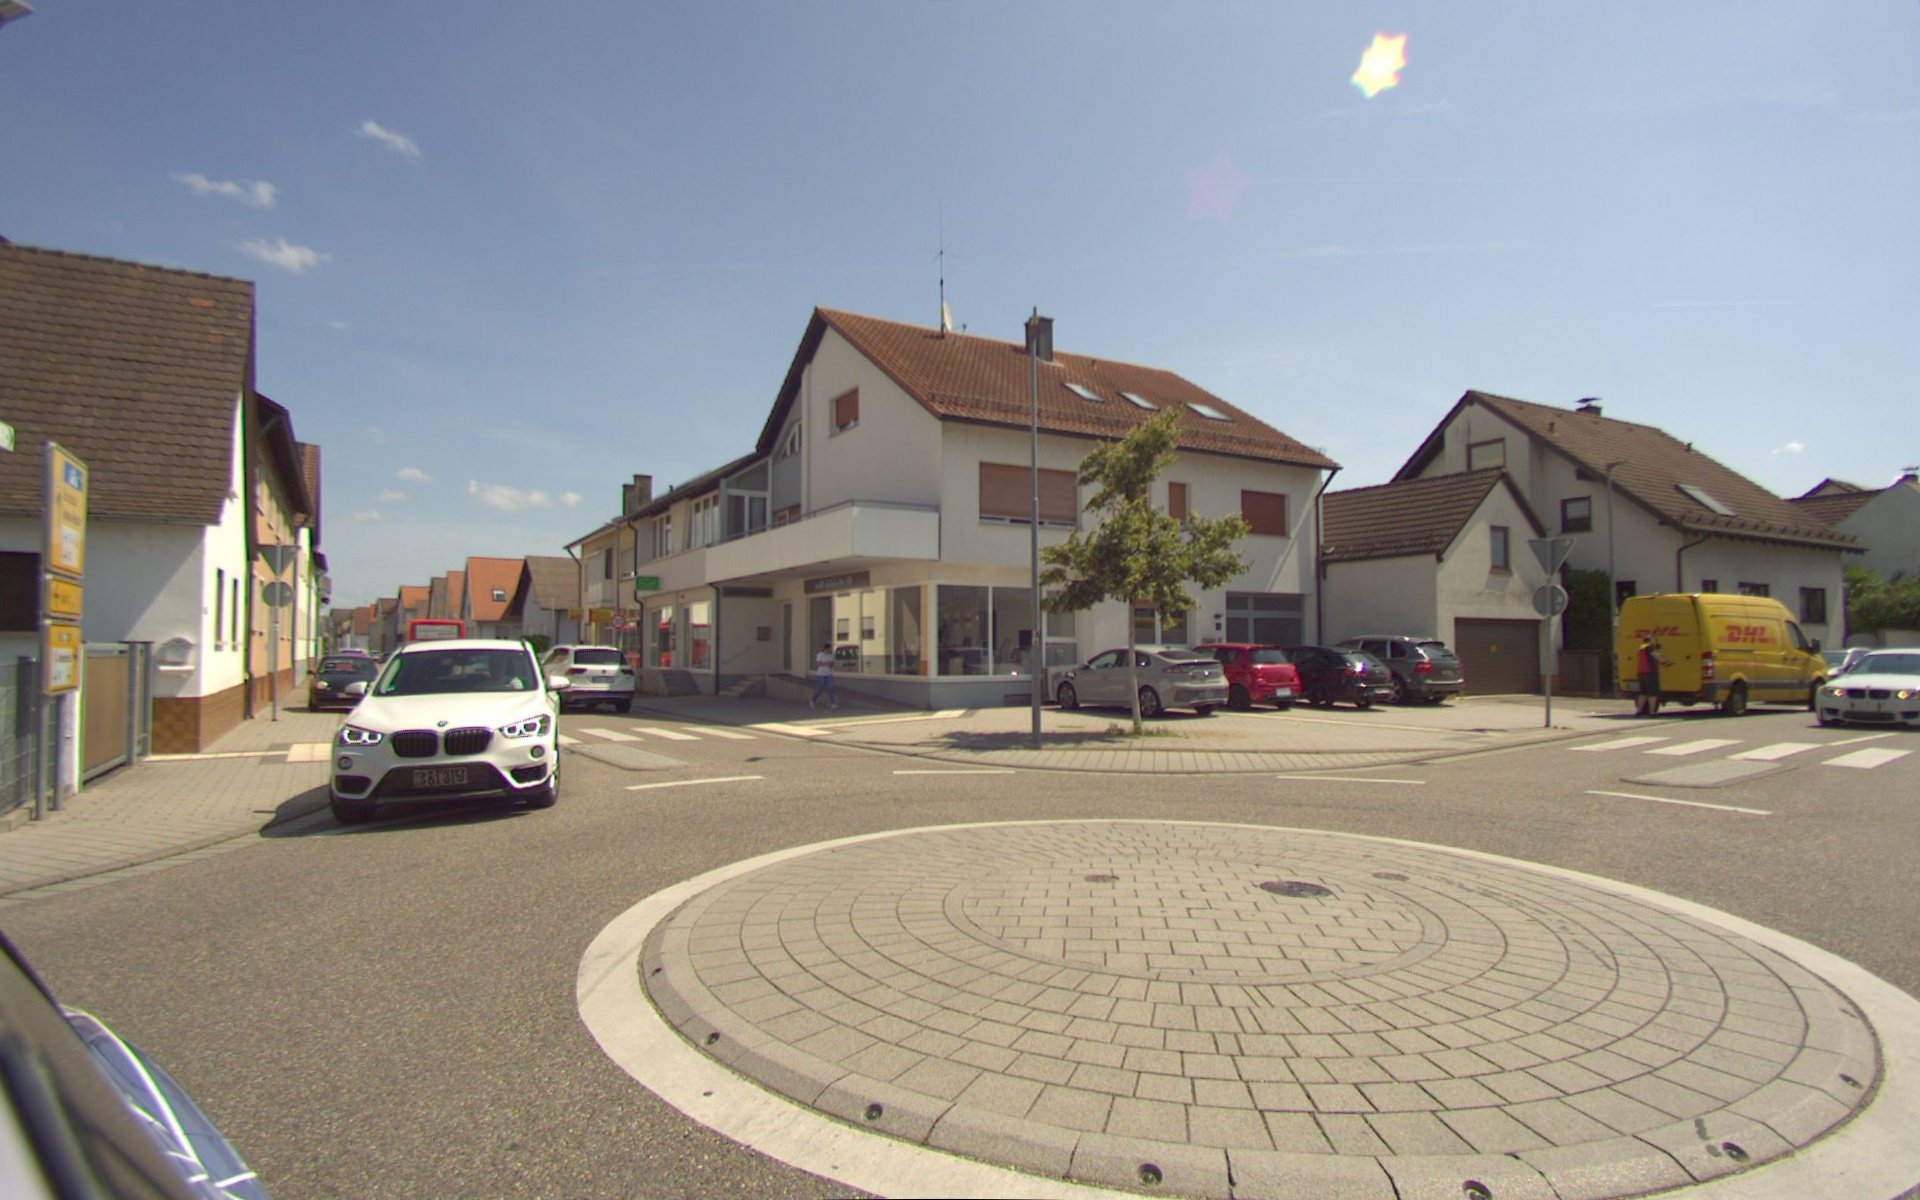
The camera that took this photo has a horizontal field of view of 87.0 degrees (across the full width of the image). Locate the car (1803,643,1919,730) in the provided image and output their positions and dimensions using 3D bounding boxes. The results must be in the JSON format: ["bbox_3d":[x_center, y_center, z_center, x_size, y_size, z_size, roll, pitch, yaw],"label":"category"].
[{"bbox_3d":[17.672,1.528,18.655,4.260,1.460,1.886,1,-3,-30],"label":"car"}]

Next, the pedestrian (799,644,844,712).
[{"bbox_3d":[-3.387,1.878,24.705,0.744,1.596,0.959,-1,-2,-30],"label":"pedestrian"}]

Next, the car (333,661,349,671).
[{"bbox_3d":[-85.468,9.130,139.739,1.736,1.439,3.862,2,-4,-34],"label":"car"}]

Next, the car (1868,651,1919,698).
[{"bbox_3d":[29.055,2.176,29.962,3.904,1.254,1.792,-1,-3,-25],"label":"car"}]

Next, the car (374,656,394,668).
[{"bbox_3d":[-70.434,7.613,123.740,1.736,1.439,3.862,2,-4,-34],"label":"car"}]

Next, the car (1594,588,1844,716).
[{"bbox_3d":[17.089,1.175,22.741,5.585,2.593,2.119,1,-4,-27],"label":"car"}]

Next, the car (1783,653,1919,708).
[{"bbox_3d":[24.008,2.089,26.869,3.904,1.254,1.792,-1,-3,-25],"label":"car"}]

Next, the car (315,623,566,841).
[{"bbox_3d":[-5.169,1.157,10.332,1.814,1.658,4.388,-1,-2,-25],"label":"car"}]

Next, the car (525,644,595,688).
[{"bbox_3d":[-15.776,2.569,39.795,1.720,1.527,4.011,-3,-1,-33],"label":"car"}]

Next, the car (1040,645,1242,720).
[{"bbox_3d":[3.823,1.716,22.209,1.805,1.462,4.491,1,-3,-32],"label":"car"}]

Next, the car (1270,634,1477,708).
[{"bbox_3d":[10.676,1.774,26.515,1.953,1.753,4.762,1,-3,-32],"label":"car"}]

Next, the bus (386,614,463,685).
[{"bbox_3d":[-28.271,2.656,53.135,2.590,3.257,12.056,4,-5,-32],"label":"bus"}]

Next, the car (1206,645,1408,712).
[{"bbox_3d":[8.283,1.823,24.582,1.805,1.462,4.491,1,-3,-32],"label":"car"}]

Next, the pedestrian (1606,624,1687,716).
[{"bbox_3d":[14.308,1.461,21.117,0.769,1.840,1.026,0,-5,-27],"label":"pedestrian"}]

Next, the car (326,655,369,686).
[{"bbox_3d":[-30.058,3.442,49.646,1.736,1.439,4.201,2,-4,-32],"label":"car"}]

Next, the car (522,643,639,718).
[{"bbox_3d":[-9.737,1.980,25.728,1.840,1.723,4.554,1,-3,-33],"label":"car"}]

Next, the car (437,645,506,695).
[{"bbox_3d":[-19.179,2.718,39.654,1.748,1.835,4.453,3,-4,-34],"label":"car"}]

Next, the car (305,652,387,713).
[{"bbox_3d":[-16.143,2.150,26.630,1.662,1.474,3.639,4,-5,-31],"label":"car"}]

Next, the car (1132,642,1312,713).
[{"bbox_3d":[6.007,1.741,23.636,1.723,1.488,3.975,1,-3,-32],"label":"car"}]
